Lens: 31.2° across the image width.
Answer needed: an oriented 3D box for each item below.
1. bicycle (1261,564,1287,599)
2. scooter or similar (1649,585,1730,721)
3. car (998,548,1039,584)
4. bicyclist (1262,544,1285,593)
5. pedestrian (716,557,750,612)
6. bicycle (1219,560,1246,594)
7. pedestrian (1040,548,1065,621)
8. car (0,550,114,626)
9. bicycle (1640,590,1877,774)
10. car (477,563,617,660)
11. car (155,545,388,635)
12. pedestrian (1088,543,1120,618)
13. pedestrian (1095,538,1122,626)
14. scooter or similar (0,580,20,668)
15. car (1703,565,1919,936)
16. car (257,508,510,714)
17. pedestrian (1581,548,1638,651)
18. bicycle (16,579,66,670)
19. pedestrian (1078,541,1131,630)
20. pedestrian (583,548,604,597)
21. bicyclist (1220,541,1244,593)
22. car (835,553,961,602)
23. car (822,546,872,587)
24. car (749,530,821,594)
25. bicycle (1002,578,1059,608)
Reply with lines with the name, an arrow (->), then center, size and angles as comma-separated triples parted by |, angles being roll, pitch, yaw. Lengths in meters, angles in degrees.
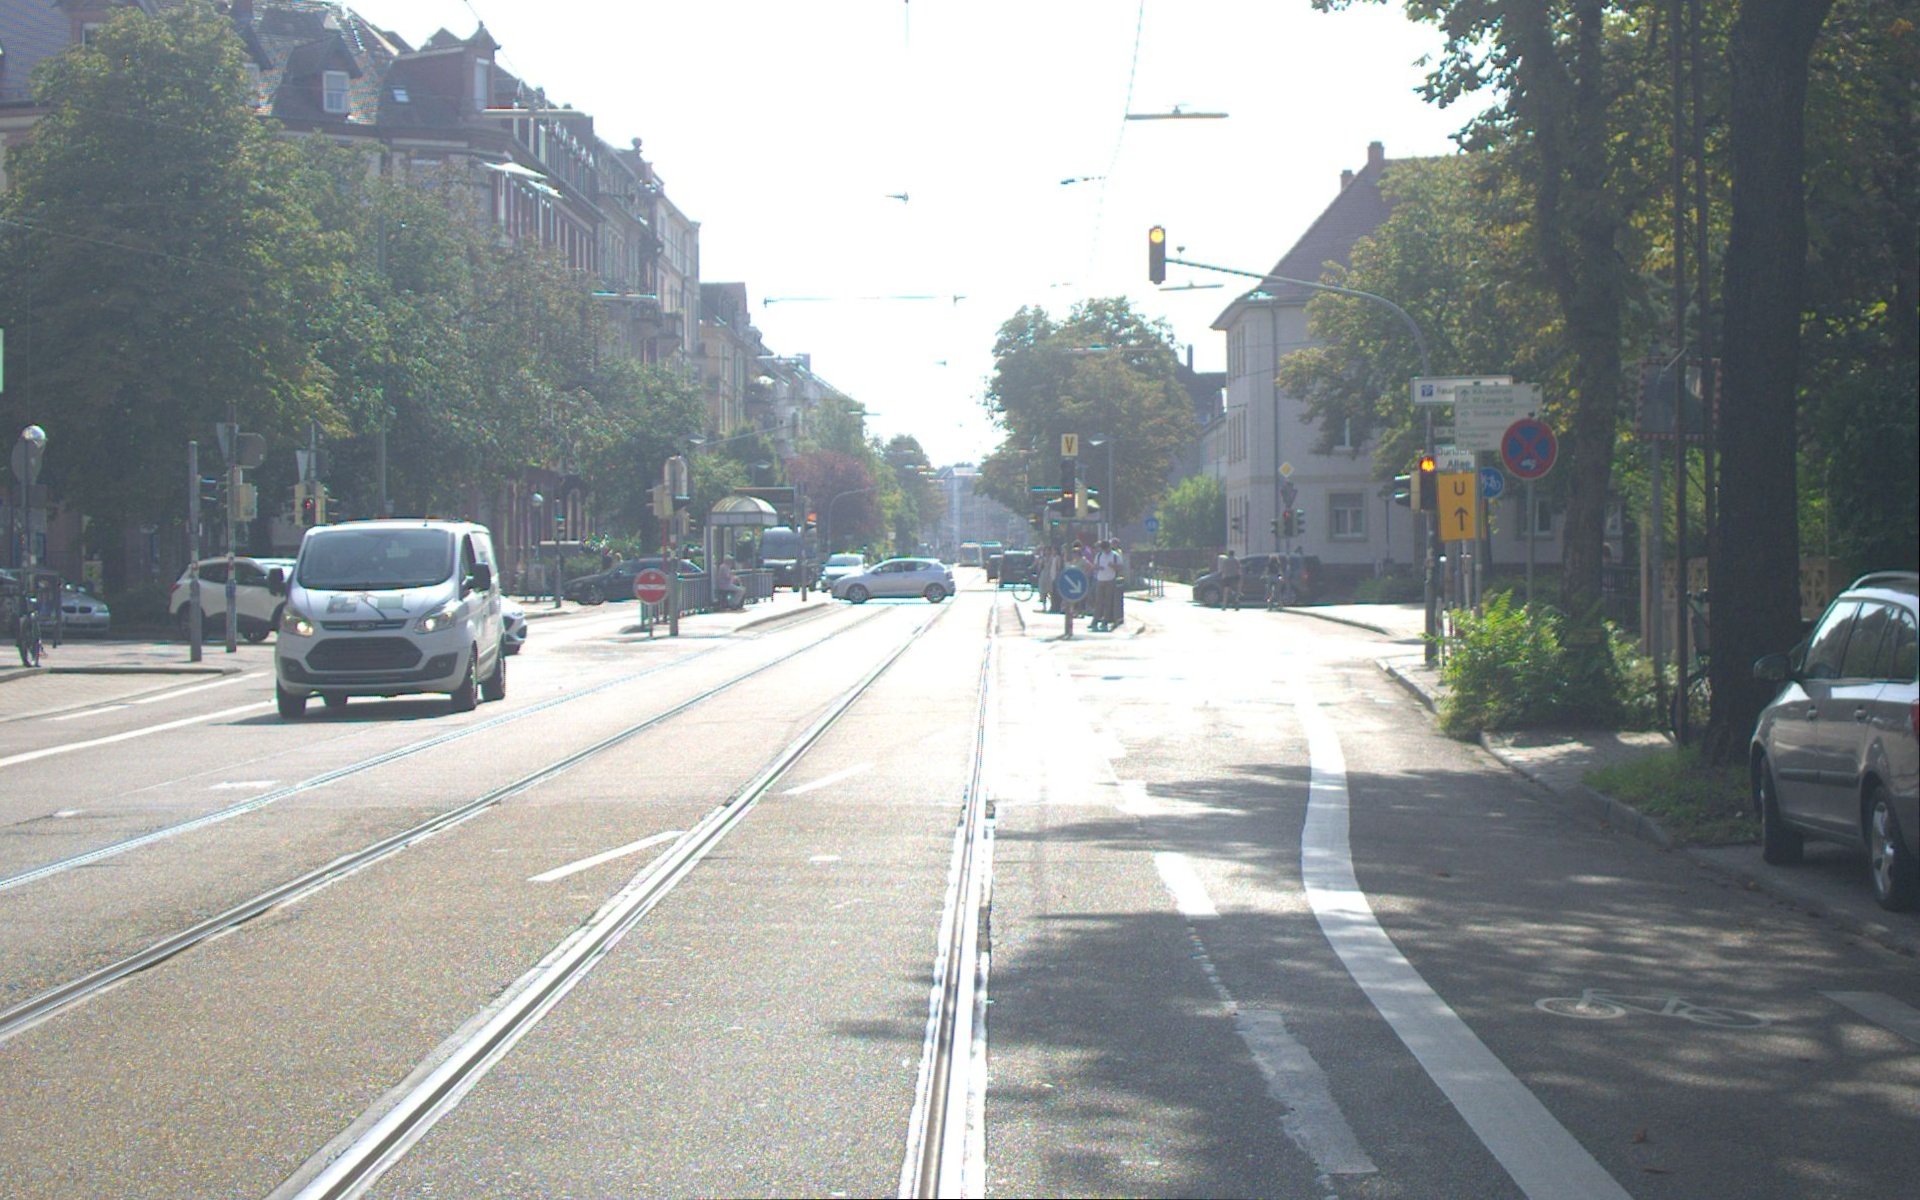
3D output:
bicycle -> 9.091, -0.545, 99.548 | 0.558, 0.974, 1.856 | 0, 1, 0
scooter or similar -> 6.706, 0.477, 31.629 | 0.558, 1.193, 1.034 | -3, 0, 6
car -> 2.745, -1.579, 160.751 | 1.801, 1.648, 3.642 | 0, 1, 2
bicyclist -> 9.083, -0.916, 99.558 | 0.558, 1.412, 0.871 | 0, 1, 0
pedestrian -> -5.675, -0.390, 85.858 | 0.827, 1.354, 0.776 | 0, 0, -3
bicycle -> 7.924, -0.681, 100.135 | 0.629, 0.974, 1.770 | 0, 1, 0
pedestrian -> 2.268, -0.387, 84.154 | 0.532, 1.753, 0.545 | 2, 3, 3
car -> -18.891, -0.274, 69.883 | 1.864, 1.461, 4.786 | -1, 1, -32
bicycle -> 5.691, 0.573, 24.456 | 1.837, 1.162, 0.504 | -3, -3, -39
car -> -6.815, 0.157, 57.060 | 1.872, 1.449, 4.545 | -3, 1, -2
car -> -13.016, -0.202, 64.878 | 4.327, 1.625, 1.996 | 0, 1, 39
pedestrian -> 3.436, -0.469, 82.071 | 0.709, 1.753, 0.534 | 2, 3, 2
pedestrian -> 3.162, -0.388, 73.176 | 0.504, 1.827, 0.534 | 2, 3, 2
scooter or similar -> -13.348, 0.323, 47.243 | 0.365, 1.193, 1.033 | -1, 1, -45
car -> 4.910, 0.614, 16.782 | 1.607, 1.519, 4.357 | -3, 1, 1
car -> -5.960, 0.071, 36.089 | 1.993, 2.007, 4.860 | 0, 1, -2
pedestrian -> 10.952, -0.012, 57.981 | 0.750, 1.725, 0.772 | 0, 0, -7
bicycle -> -12.761, 0.322, 47.763 | 0.453, 1.222, 1.857 | 0, 1, -8
pedestrian -> 2.898, -0.296, 68.918 | 0.701, 1.719, 0.746 | 4, 4, 34
pedestrian -> -13.088, -0.981, 122.784 | 0.533, 1.685, 0.544 | 3, 3, 22
bicyclist -> 7.928, -0.960, 100.129 | 0.629, 1.502, 0.678 | 0, 1, 0
car -> -1.987, -0.752, 111.716 | 3.964, 1.546, 2.000 | 0, 1, 3
car -> -4.640, -1.381, 141.478 | 1.801, 1.648, 3.642 | 0, 1, 2
car -> -7.378, -1.618, 145.360 | 2.348, 2.653, 5.104 | 0, 1, 5
bicycle -> 2.311, -0.224, 112.663 | 1.851, 0.955, 0.548 | 0, 1, 5
